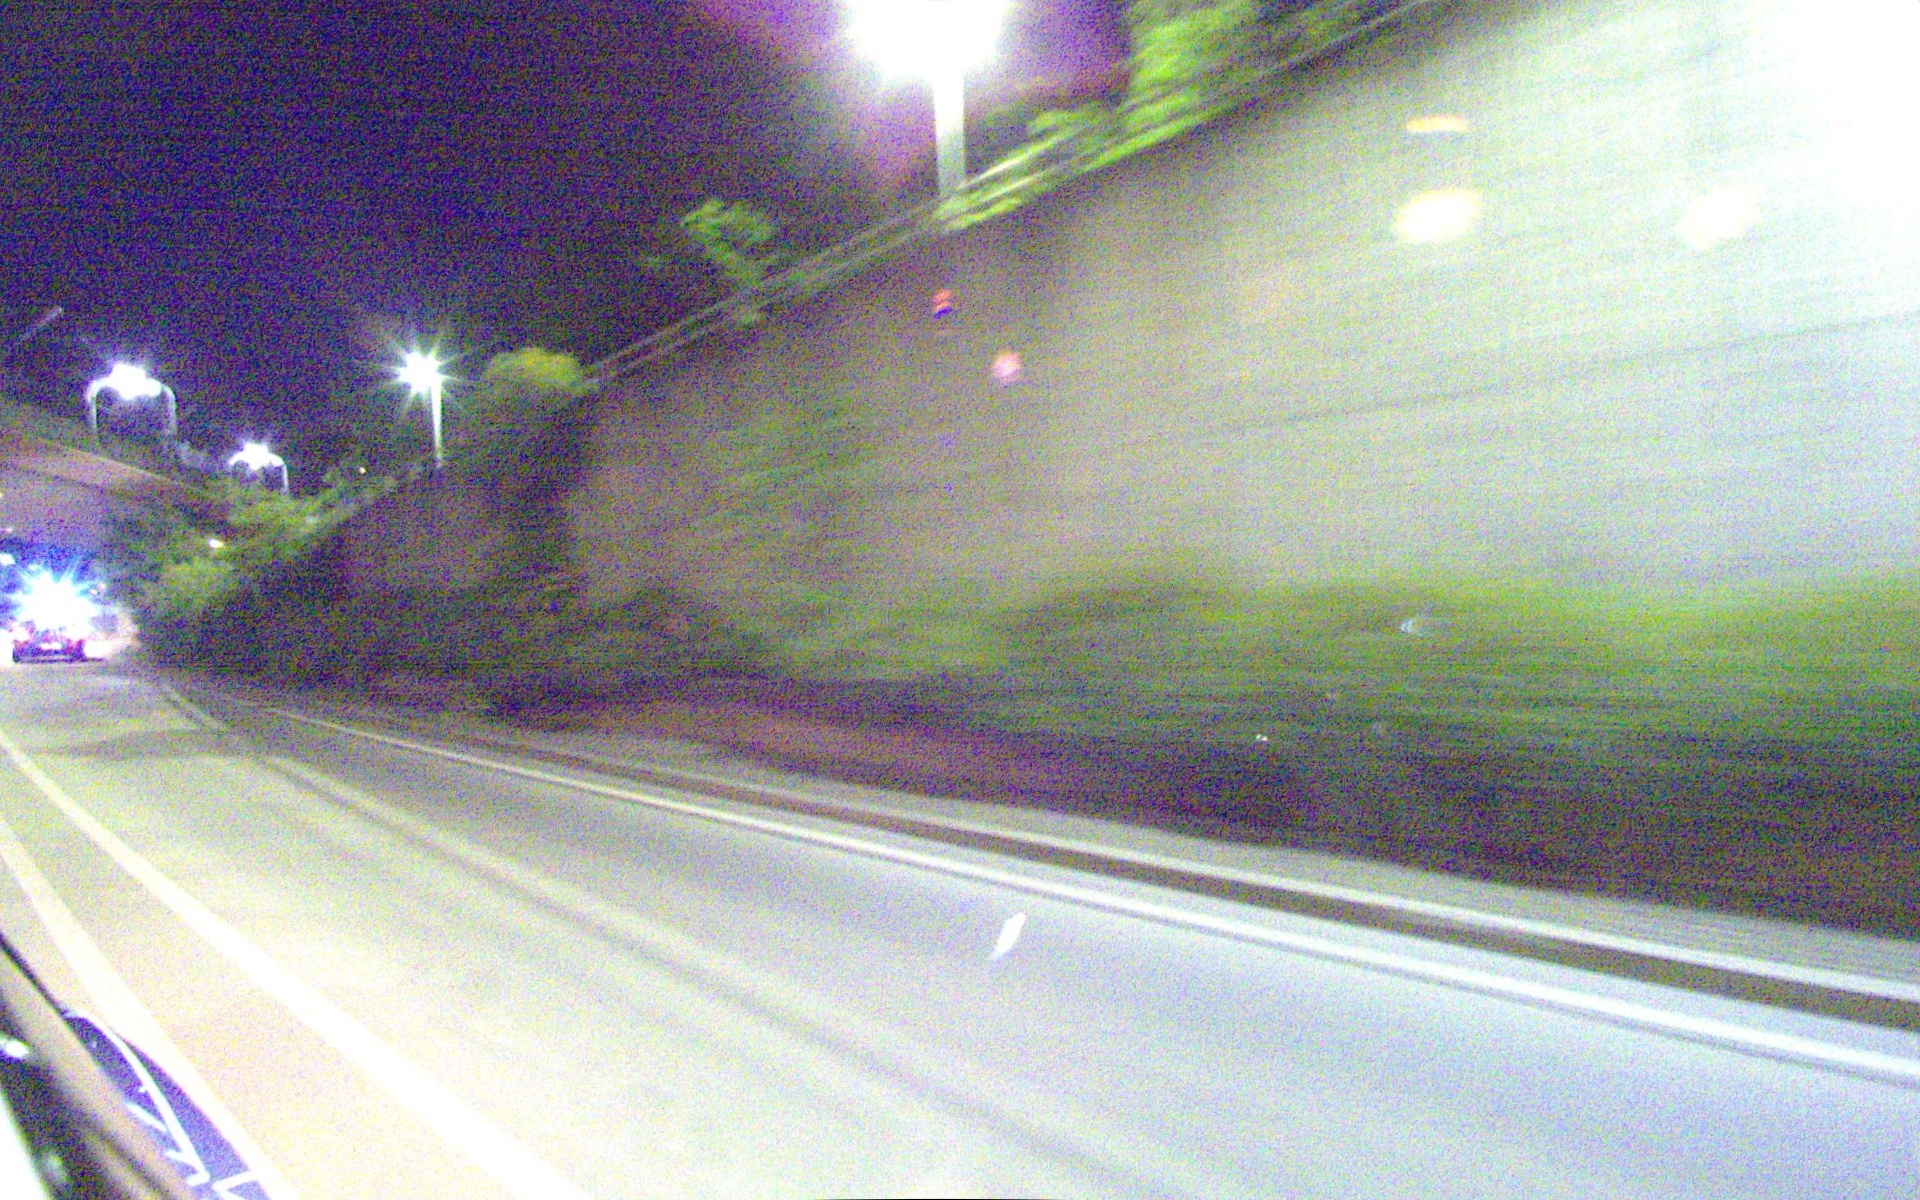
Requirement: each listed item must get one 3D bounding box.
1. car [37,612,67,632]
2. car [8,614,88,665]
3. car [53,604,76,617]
[{"bbox_3d":[-74.245,1.798,82.764,1.766,1.458,4.177,-2,2,-42],"label":"car"},{"bbox_3d":[-29.643,1.234,32.877,1.836,1.521,4.004,0,0,-43],"label":"car"},{"bbox_3d":[-117.089,1.315,132.313,1.857,1.566,4.228,-1,1,-36],"label":"car"}]
